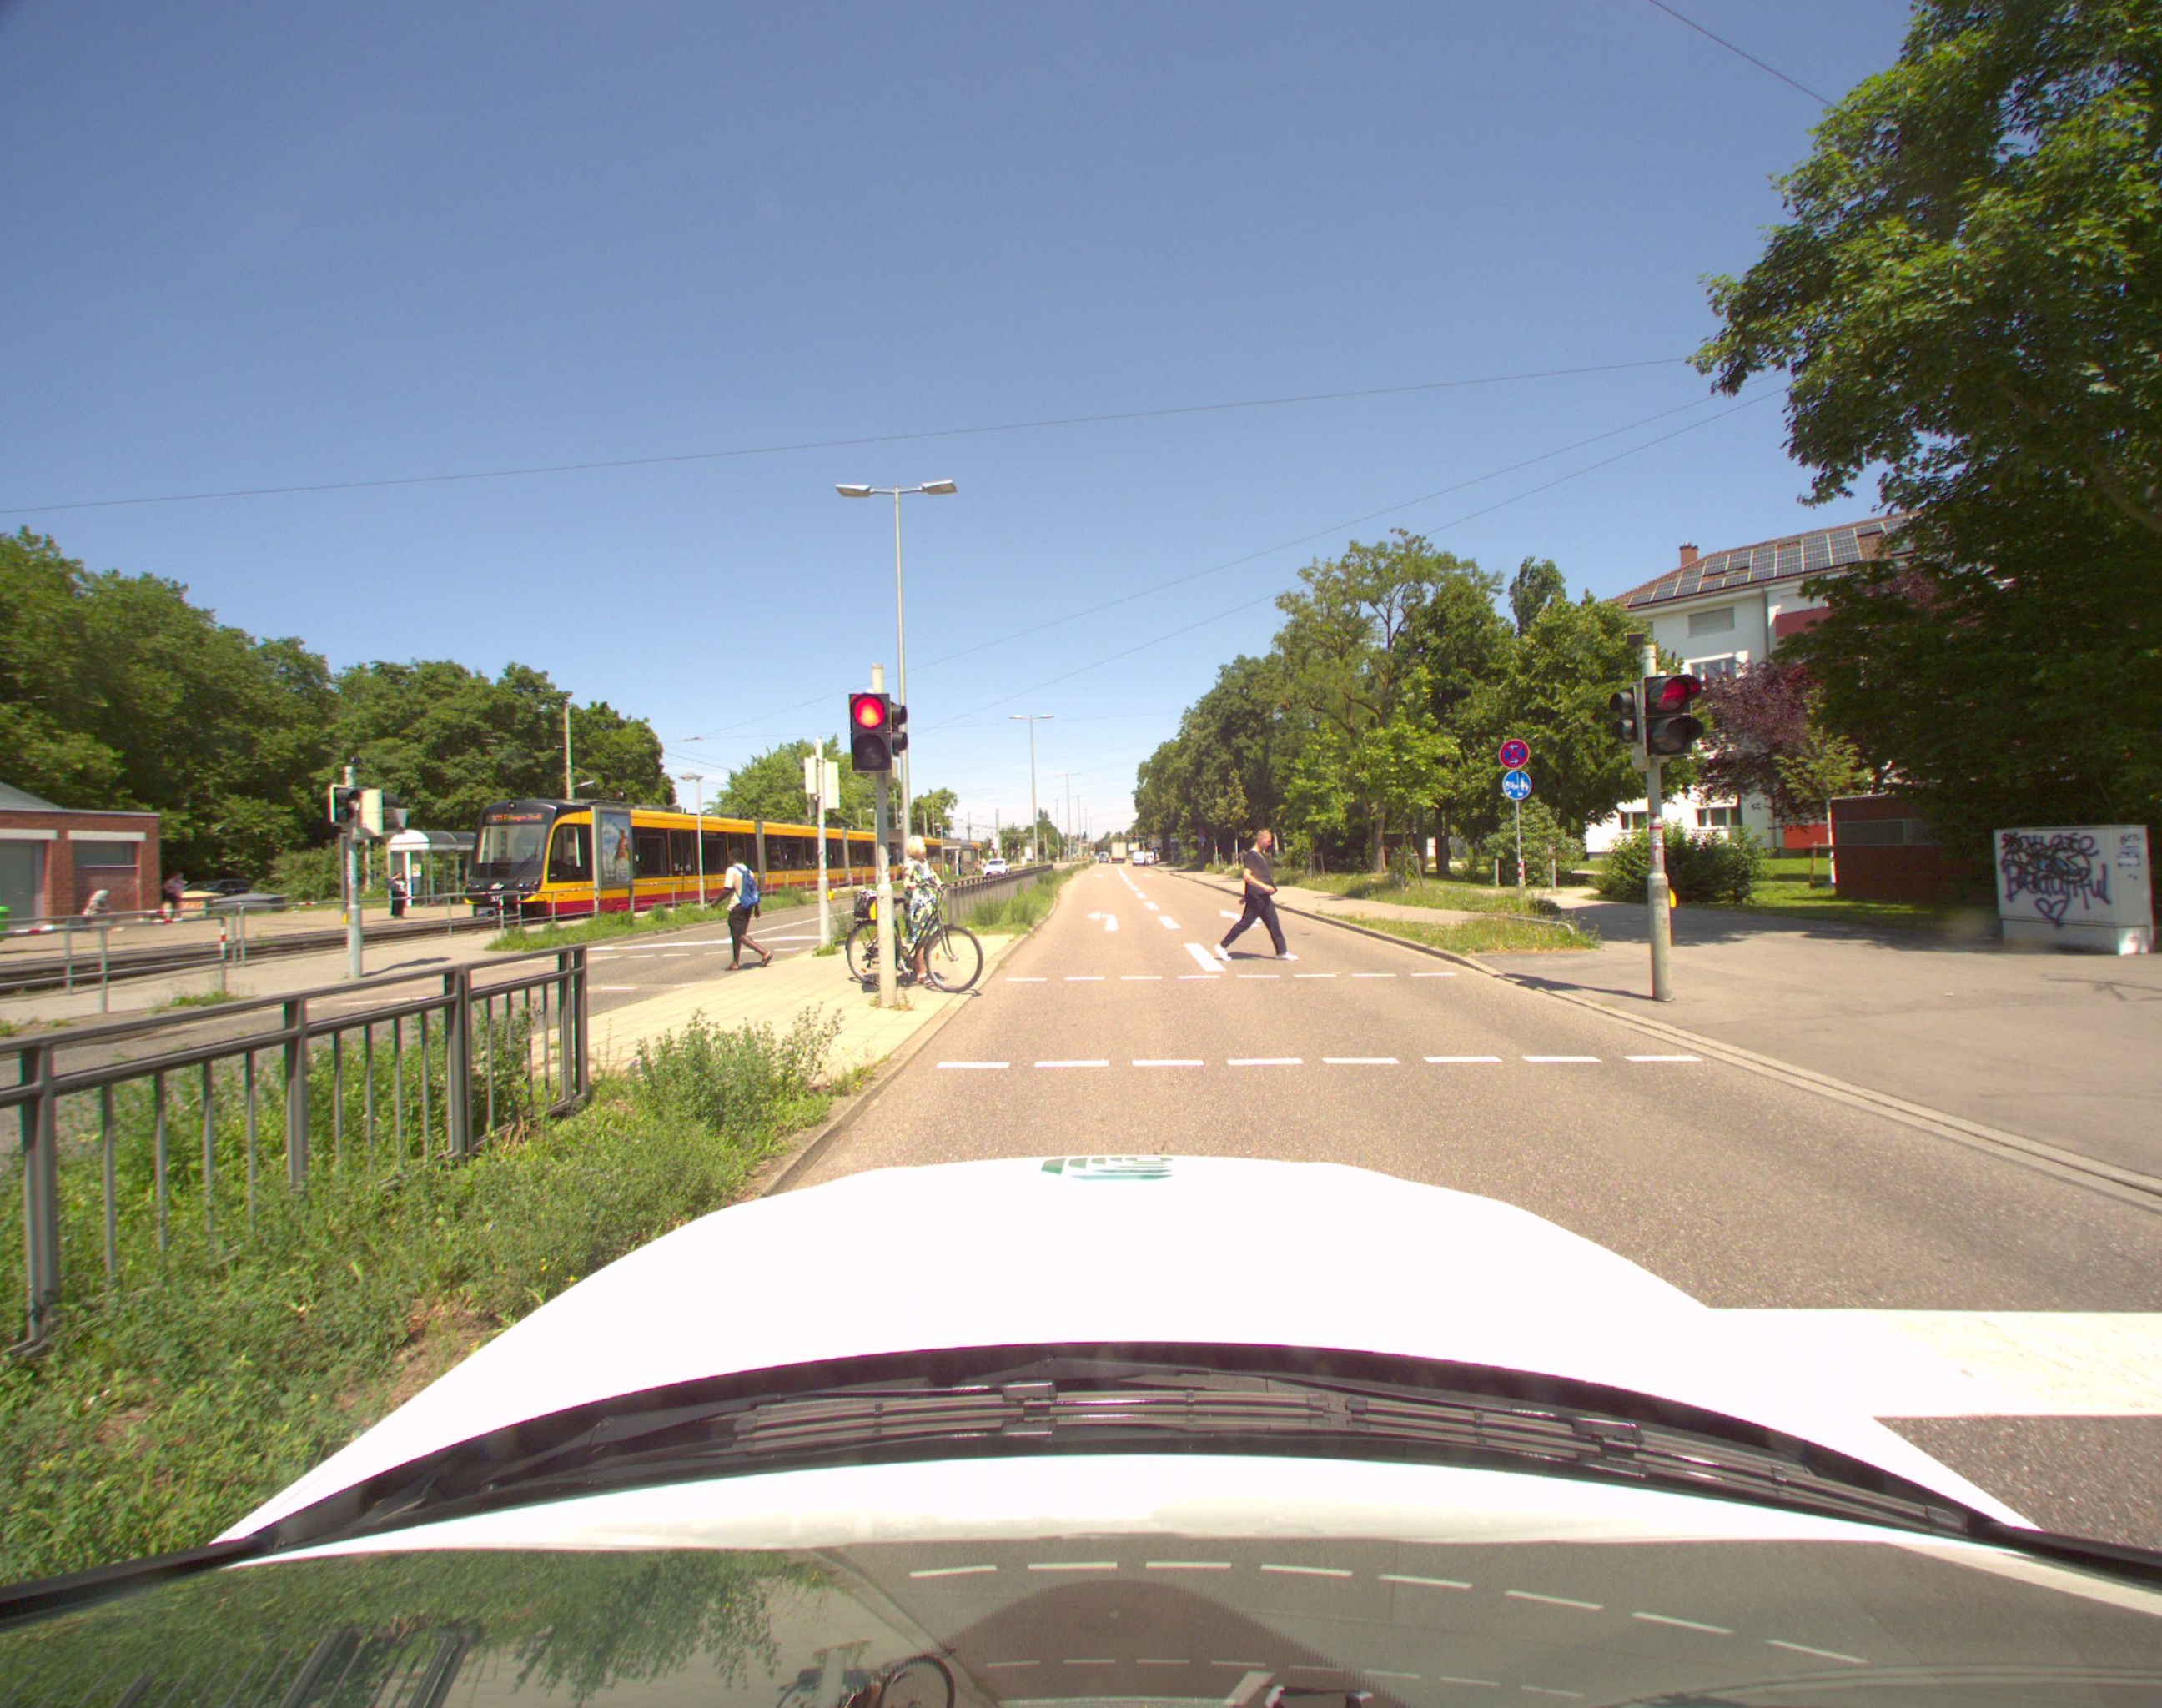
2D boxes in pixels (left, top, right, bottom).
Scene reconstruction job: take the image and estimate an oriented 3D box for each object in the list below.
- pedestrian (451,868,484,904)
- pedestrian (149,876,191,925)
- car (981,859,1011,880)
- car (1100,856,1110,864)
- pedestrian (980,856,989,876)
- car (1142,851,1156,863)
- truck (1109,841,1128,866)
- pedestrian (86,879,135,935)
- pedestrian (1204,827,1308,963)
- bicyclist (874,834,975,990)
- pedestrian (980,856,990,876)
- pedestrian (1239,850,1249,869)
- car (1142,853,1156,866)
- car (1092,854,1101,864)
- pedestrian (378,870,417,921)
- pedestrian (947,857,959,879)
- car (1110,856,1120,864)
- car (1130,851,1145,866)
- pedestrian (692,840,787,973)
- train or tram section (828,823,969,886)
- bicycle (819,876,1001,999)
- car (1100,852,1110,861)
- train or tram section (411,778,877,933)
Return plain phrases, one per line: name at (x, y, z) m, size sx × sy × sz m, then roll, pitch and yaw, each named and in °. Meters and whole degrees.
pedestrian at (-26.282, 1.378, 34.902) m, size 0.836 × 1.511 × 0.723 m, roll -2°, pitch 0°, yaw 12°
pedestrian at (-27.783, 1.412, 24.852) m, size 0.635 × 1.456 × 0.585 m, roll -2°, pitch 0°, yaw 10°
car at (-6.628, 1.173, 63.916) m, size 1.838 × 1.494 × 3.793 m, roll -2°, pitch 0°, yaw 2°
car at (4.406, 1.113, 152.015) m, size 1.804 × 1.464 × 4.002 m, roll -2°, pitch 0°, yaw 2°
pedestrian at (-10.129, 1.253, 85.372) m, size 0.812 × 2.013 × 0.939 m, roll -2°, pitch 0°, yaw 1°
car at (9.909, 0.457, 118.768) m, size 1.773 × 1.668 × 4.002 m, roll -2°, pitch 0°, yaw 2°
truck at (6.778, -0.086, 146.199) m, size 3.193 × 4.359 × 6.563 m, roll -2°, pitch 0°, yaw 2°
pedestrian at (-26.678, 1.444, 22.389) m, size 0.636 × 1.480 × 0.570 m, roll -2°, pitch 0°, yaw 1°
pedestrian at (2.436, 0.552, 11.335) m, size 1.173 × 1.778 × 0.845 m, roll -2°, pitch -2°, yaw 32°
bicyclist at (-1.769, 0.622, 9.248) m, size 0.949 × 1.666 × 0.583 m, roll 1°, pitch 2°, yaw 19°
pedestrian at (-9.909, 1.241, 84.072) m, size 0.812 × 2.013 × 0.939 m, roll -2°, pitch 0°, yaw 1°
pedestrian at (12.105, 0.404, 60.501) m, size 0.600 × 1.438 × 0.557 m, roll -2°, pitch 0°, yaw 8°
car at (9.388, 0.716, 112.427) m, size 1.773 × 1.668 × 4.002 m, roll -2°, pitch 0°, yaw 2°
car at (3.328, 1.091, 175.338) m, size 1.986 × 2.013 × 4.002 m, roll -2°, pitch 0°, yaw 2°
pedestrian at (-21.541, 1.297, 25.669) m, size 0.635 × 1.555 × 0.691 m, roll -2°, pitch 0°, yaw -11°
pedestrian at (-10.978, 1.202, 69.735) m, size 0.783 × 1.868 × 0.818 m, roll -2°, pitch 0°, yaw 1°
car at (6.489, 1.140, 153.694) m, size 1.804 × 1.464 × 4.002 m, roll -2°, pitch 0°, yaw 2°
car at (7.312, 0.559, 105.644) m, size 1.773 × 1.903 × 4.002 m, roll -2°, pitch 0°, yaw 2°
pedestrian at (-4.952, 0.741, 11.872) m, size 0.837 × 1.777 × 0.720 m, roll -7°, pitch 2°, yaw 1°
train or tram section at (-13.505, 0.057, 66.551) m, size 2.920 × 3.789 × 33.100 m, roll -2°, pitch 0°, yaw 2°
bicycle at (-1.890, 0.874, 8.936) m, size 1.941 × 1.161 × 0.544 m, roll 2°, pitch 2°, yaw 19°
car at (4.887, 0.550, 163.588) m, size 1.986 × 1.816 × 4.001 m, roll 0°, pitch -1°, yaw 2°
train or tram section at (-14.528, 0.039, 35.079) m, size 2.946 × 3.749 × 30.044 m, roll -2°, pitch 0°, yaw 2°
